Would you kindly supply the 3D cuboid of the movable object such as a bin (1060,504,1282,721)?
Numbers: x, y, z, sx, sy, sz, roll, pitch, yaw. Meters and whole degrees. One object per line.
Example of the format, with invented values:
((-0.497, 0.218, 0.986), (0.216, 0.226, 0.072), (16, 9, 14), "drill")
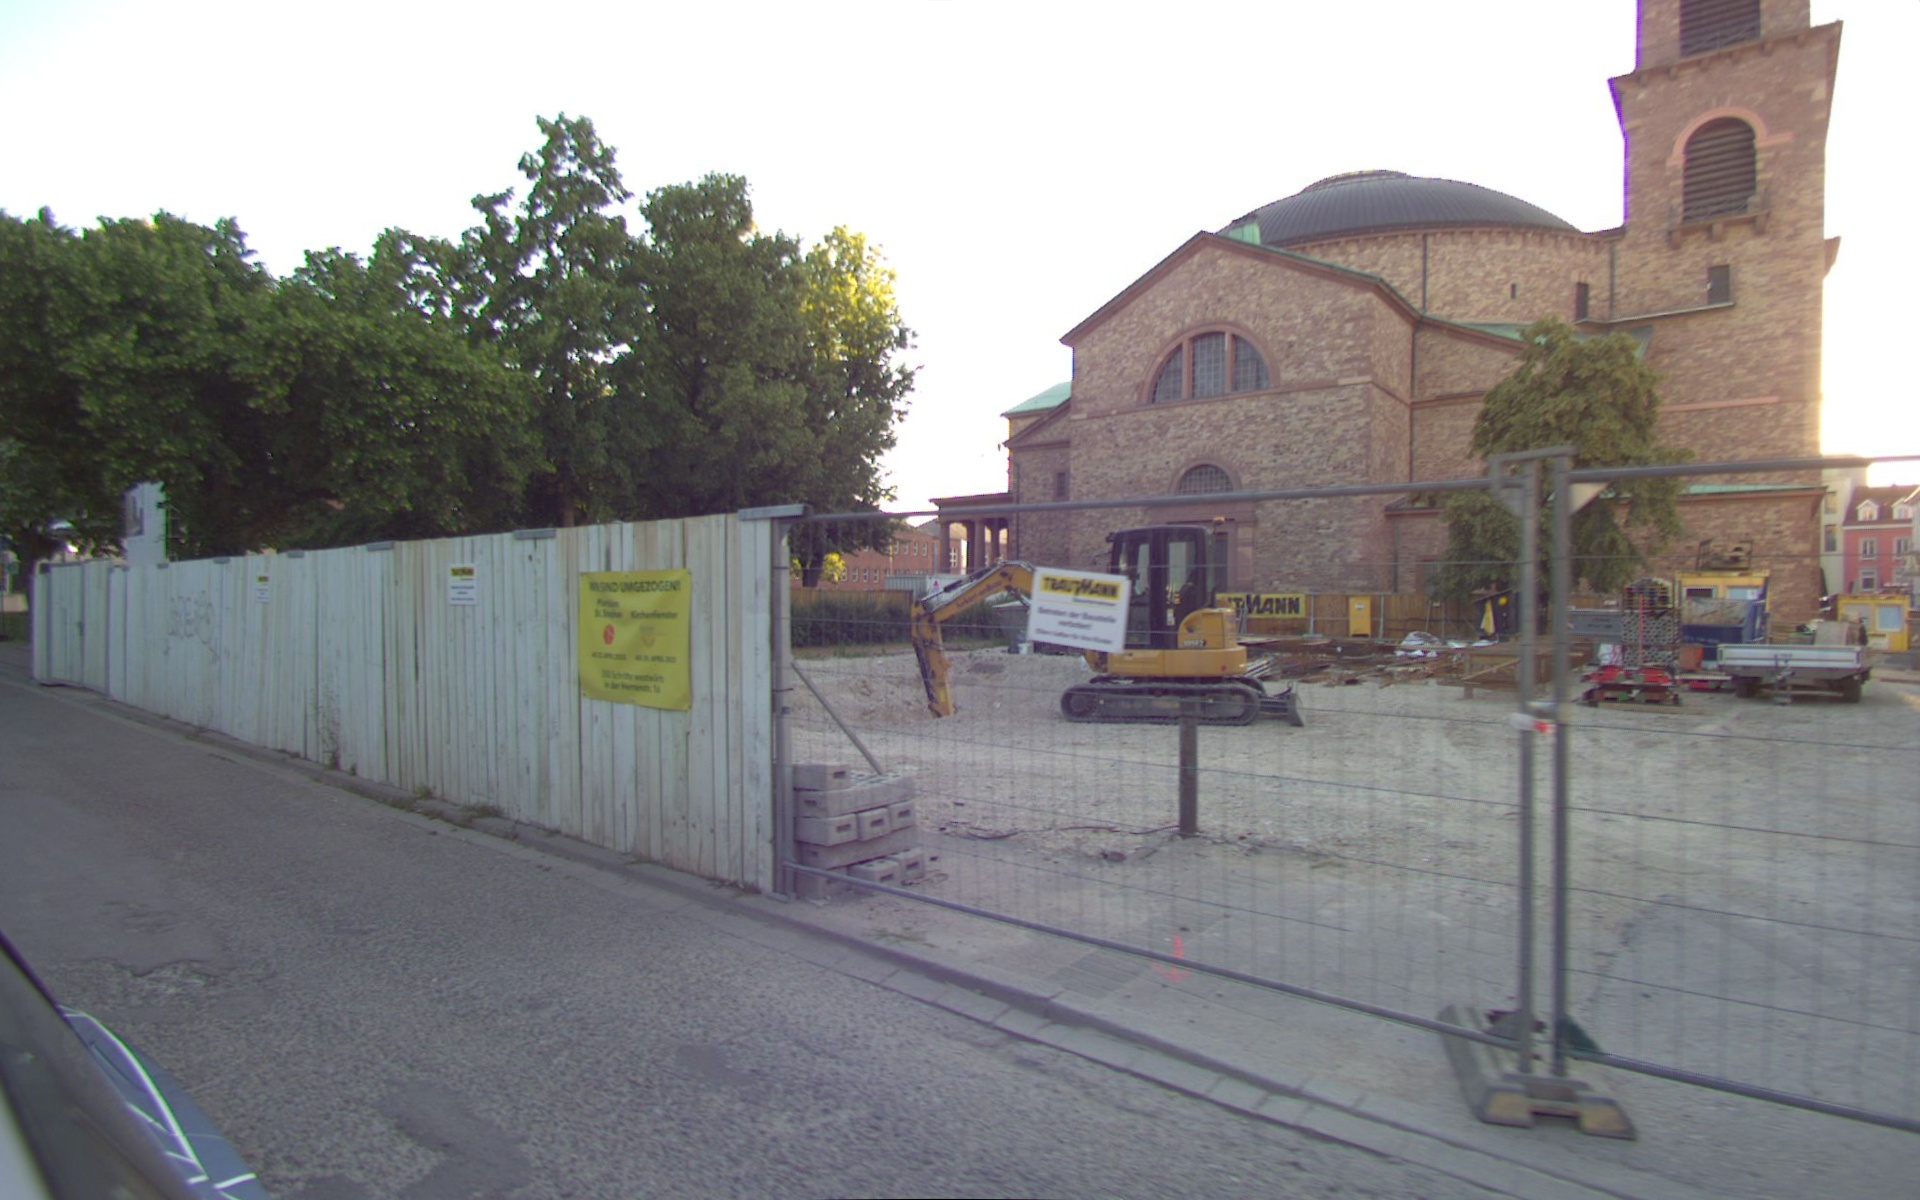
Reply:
((2.914, 0.171, 13.681), (2.725, 2.623, 2.146), (0, -1, 18), "movable object such as a bin")

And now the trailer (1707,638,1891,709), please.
((14.354, 1.170, 17.231), (4.303, 0.998, 2.001), (2, -2, -45), "trailer")
